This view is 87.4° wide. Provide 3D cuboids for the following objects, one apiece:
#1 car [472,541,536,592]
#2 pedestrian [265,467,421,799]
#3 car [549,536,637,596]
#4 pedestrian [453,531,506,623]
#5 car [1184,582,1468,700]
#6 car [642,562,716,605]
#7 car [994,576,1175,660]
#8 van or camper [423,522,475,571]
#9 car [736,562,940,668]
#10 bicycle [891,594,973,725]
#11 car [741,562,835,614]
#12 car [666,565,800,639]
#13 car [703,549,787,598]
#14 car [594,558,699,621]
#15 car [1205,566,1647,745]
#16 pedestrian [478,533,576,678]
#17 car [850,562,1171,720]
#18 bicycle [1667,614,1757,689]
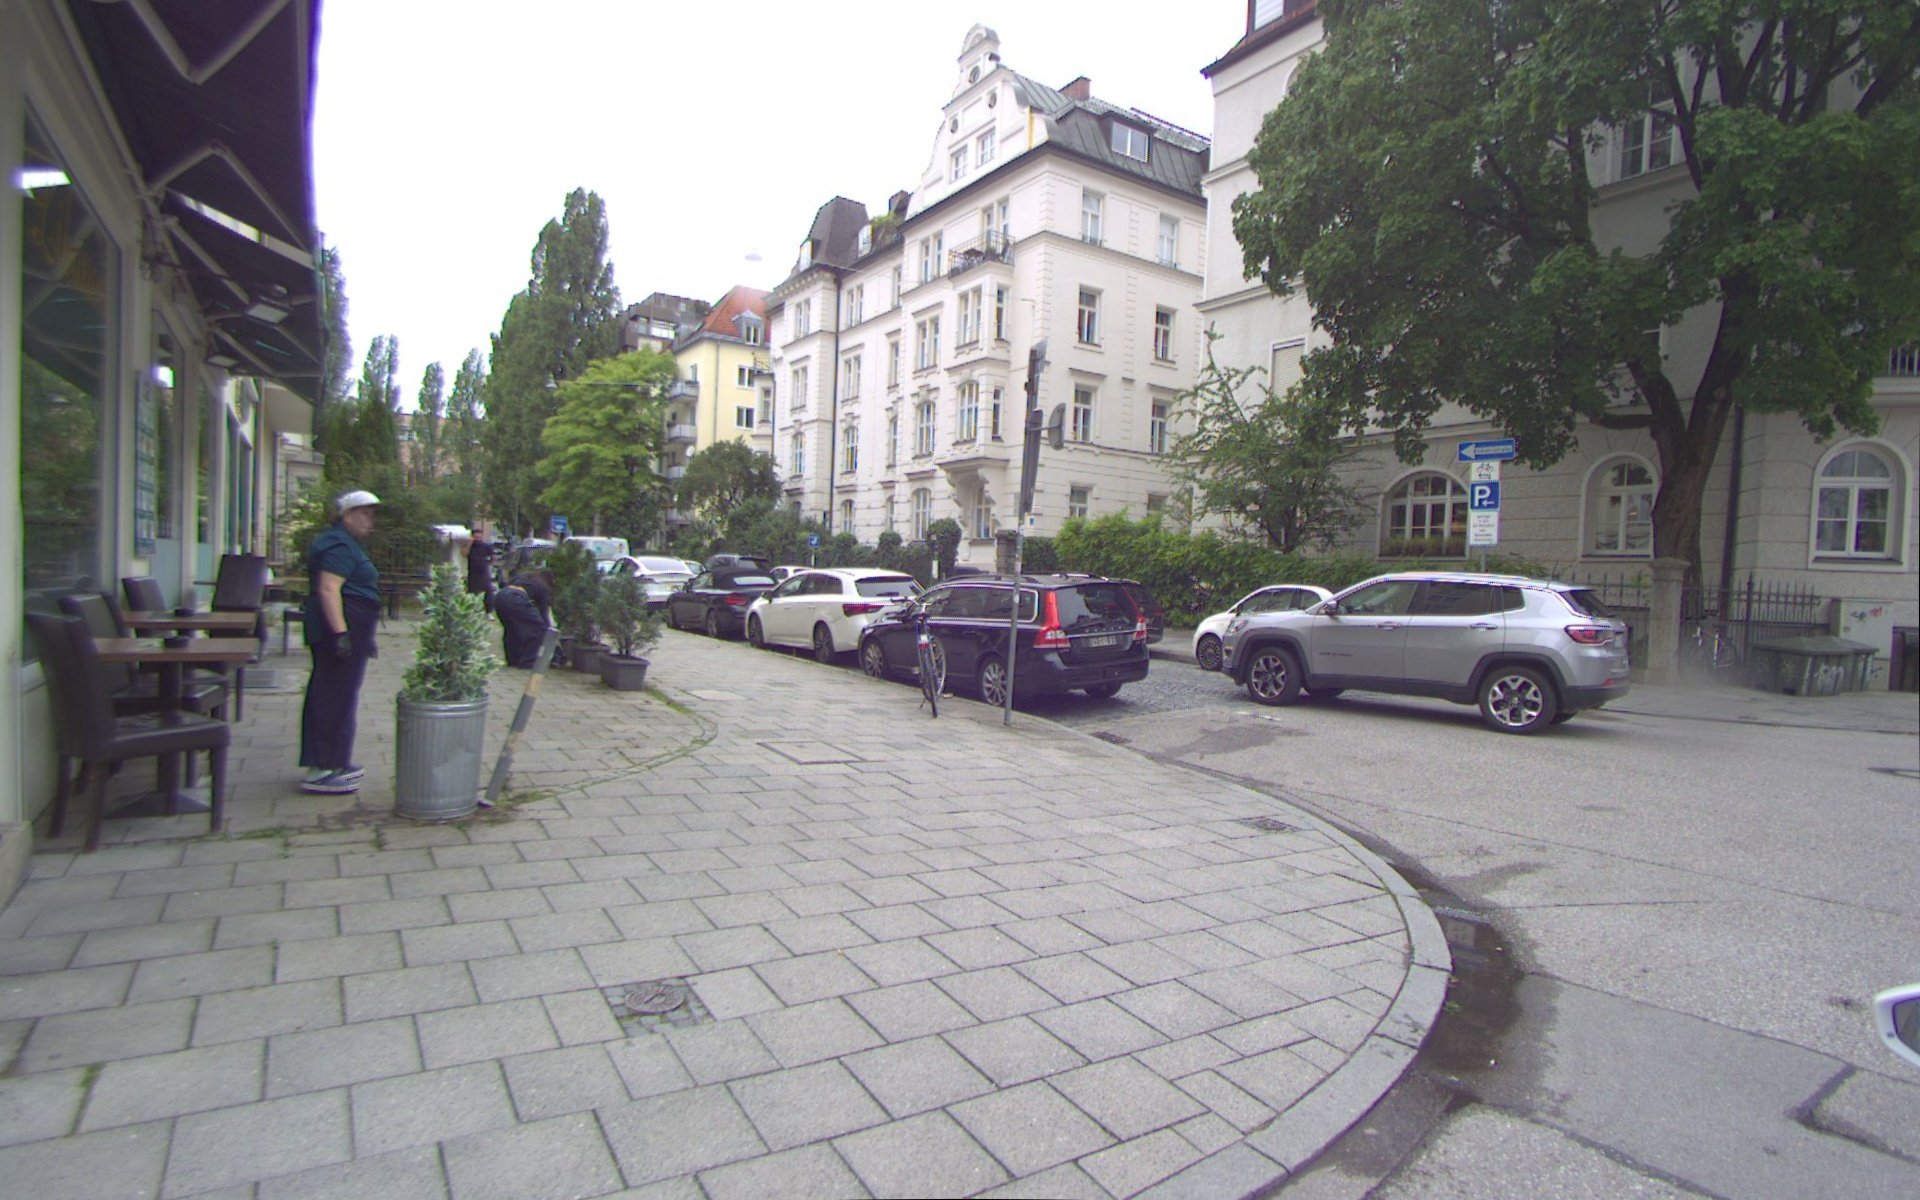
[{"bbox_3d":[-18.397,-1.372,40.424,1.690,1.885,3.962,1,2,-34],"label":"car"},{"bbox_3d":[-3.335,0.156,5.427,0.596,1.664,0.536,4,2,40],"label":"pedestrian"},{"bbox_3d":[-16.622,-1.553,45.356,2.147,2.508,4.546,1,2,-42],"label":"car"},{"bbox_3d":[-9.231,-0.439,19.294,0.726,1.678,0.784,4,1,-34],"label":"pedestrian"},{"bbox_3d":[5.543,0.539,15.715,1.667,1.468,3.965,1,2,-32],"label":"car"},{"bbox_3d":[-9.508,-0.574,33.857,1.589,1.348,2.926,1,2,-33],"label":"car"},{"bbox_3d":[2.482,0.311,20.957,1.633,1.493,3.966,1,2,-31],"label":"car"},{"bbox_3d":[-33.612,-3.508,66.000,2.403,2.974,5.320,1,2,-34],"label":"van or camper"},{"bbox_3d":[-2.204,0.146,17.137,1.667,1.528,4.221,-1,3,-35],"label":"car"},{"bbox_3d":[-0.258,0.559,10.490,0.597,1.185,1.835,4,1,4],"label":"bicycle"},{"bbox_3d":[-5.755,-0.418,33.218,1.670,1.554,3.834,1,2,-33],"label":"car"},{"bbox_3d":[-4.882,-0.004,21.252,1.576,1.359,3.779,1,2,-32],"label":"car"},{"bbox_3d":[-8.008,-1.016,37.218,1.690,1.669,3.962,1,2,-34],"label":"car"},{"bbox_3d":[-8.276,-0.307,26.317,1.602,1.461,3.963,1,2,-33],"label":"car"},{"bbox_3d":[5.248,0.490,11.636,4.245,1.629,1.954,3,2,41],"label":"car"},{"bbox_3d":[-4.956,0.057,11.486,0.843,1.572,0.742,4,1,-32],"label":"pedestrian"},{"bbox_3d":[0.455,0.344,12.851,1.884,1.537,4.305,-3,5,-34],"label":"car"},{"bbox_3d":[11.791,0.783,15.735,1.807,1.067,0.490,-1,3,-33],"label":"bicycle"}]
